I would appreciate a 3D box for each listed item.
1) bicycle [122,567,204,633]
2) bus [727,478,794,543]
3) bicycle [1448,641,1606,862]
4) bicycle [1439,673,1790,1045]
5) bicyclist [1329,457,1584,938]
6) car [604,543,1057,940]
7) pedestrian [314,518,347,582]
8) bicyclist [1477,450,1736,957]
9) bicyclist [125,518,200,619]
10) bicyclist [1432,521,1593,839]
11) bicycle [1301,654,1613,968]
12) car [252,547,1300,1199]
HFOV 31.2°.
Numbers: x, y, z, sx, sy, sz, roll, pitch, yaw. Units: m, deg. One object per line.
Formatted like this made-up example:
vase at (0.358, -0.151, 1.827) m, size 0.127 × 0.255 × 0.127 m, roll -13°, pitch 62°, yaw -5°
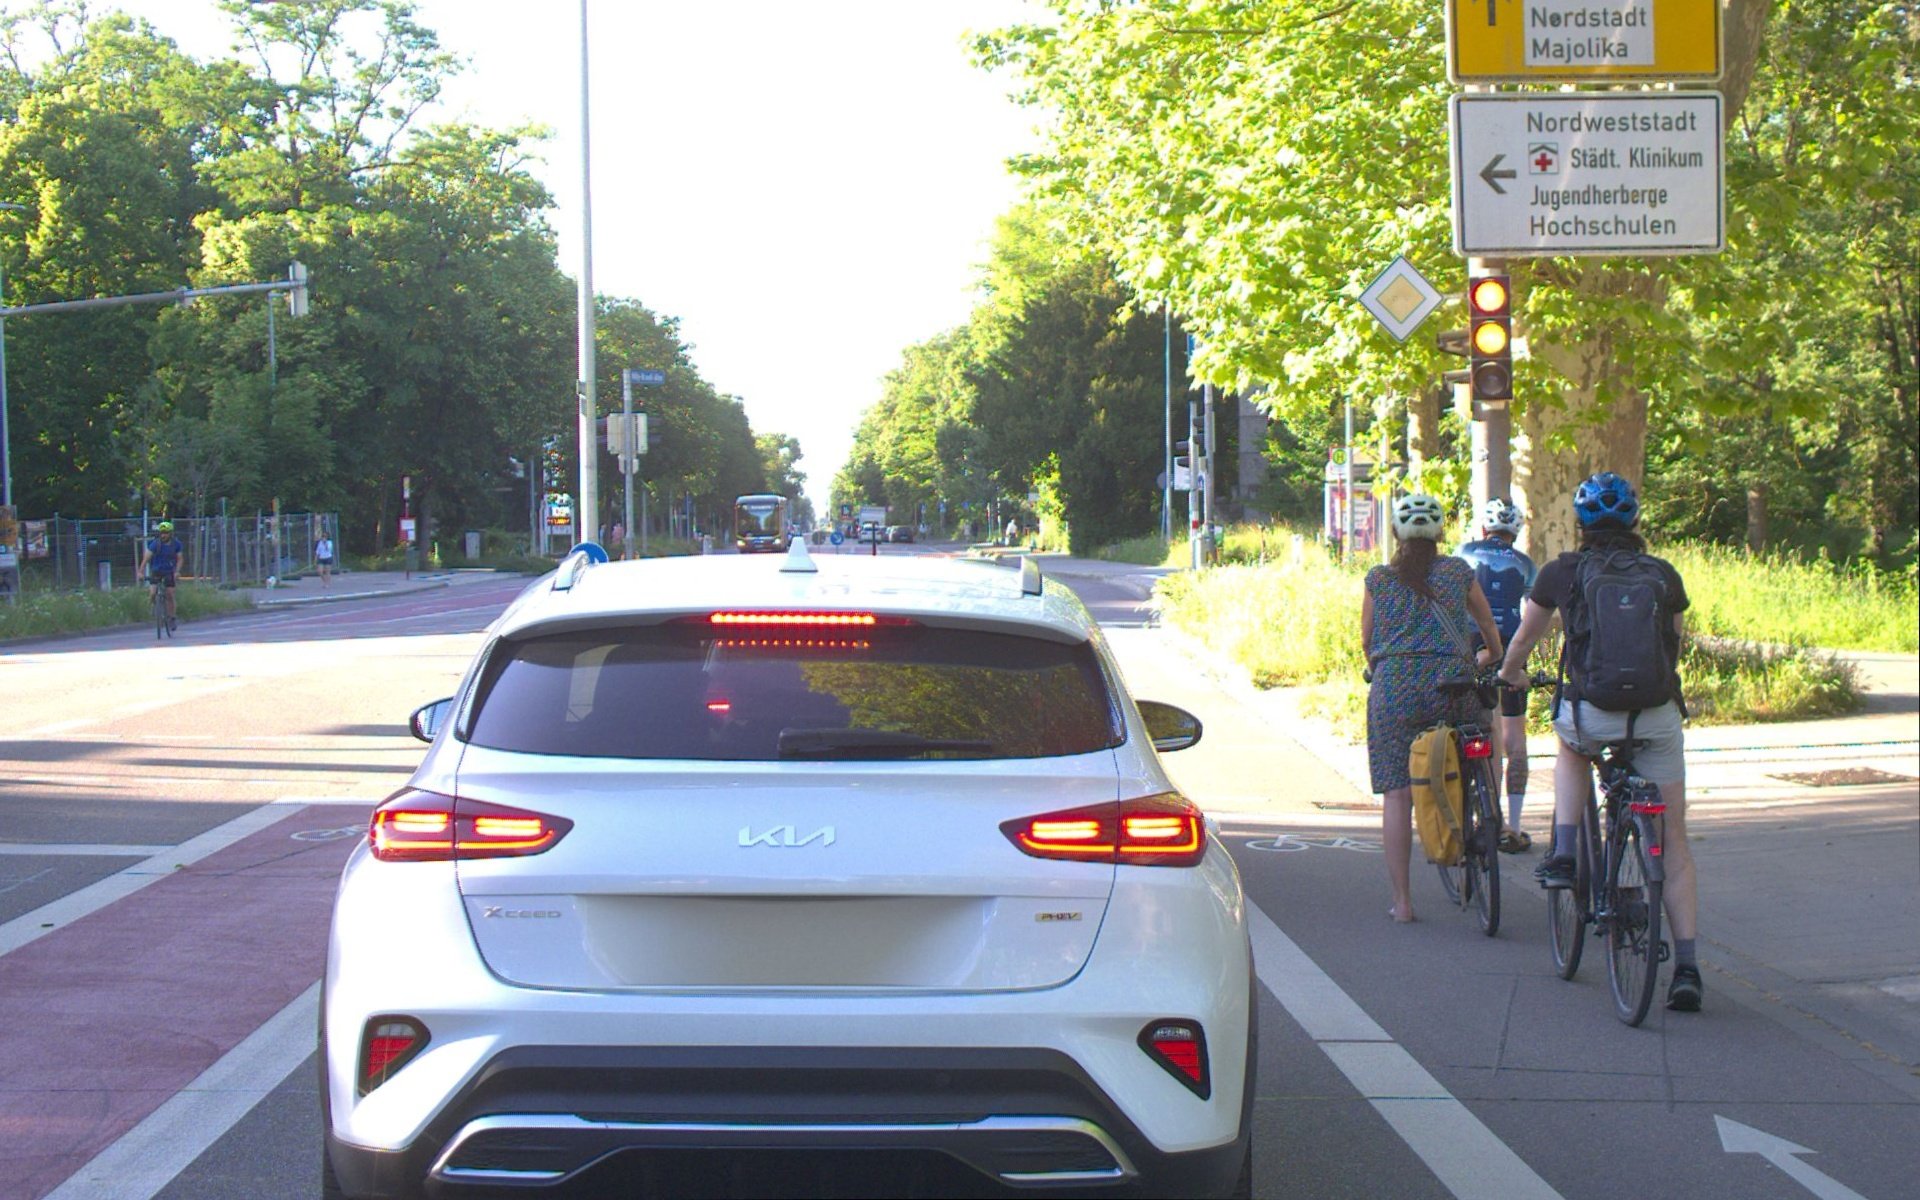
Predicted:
bicycle at (-12.939, -0.016, 55.864) m, size 0.663 × 0.985 × 2.504 m, roll -1°, pitch 1°, yaw 2°
bus at (-11.822, -5.258, 203.132) m, size 3.741 × 3.660 × 13.243 m, roll -1°, pitch 1°, yaw -4°
bicycle at (2.720, 0.707, 16.596) m, size 0.401 × 0.953 × 1.551 m, roll -4°, pitch 1°, yaw -2°
bicycle at (2.087, 0.793, 11.242) m, size 0.668 × 1.006 × 2.081 m, roll 1°, pitch 1°, yaw -2°
bicyclist at (1.924, 0.354, 13.471) m, size 0.753 × 1.789 × 1.165 m, roll 1°, pitch 1°, yaw -2°
car at (-0.571, 0.522, 15.146) m, size 1.728 × 1.478 × 3.517 m, roll -1°, pitch 1°, yaw -2°
pedestrian at (-17.760, -1.416, 97.024) m, size 0.785 × 1.779 × 0.751 m, roll 0°, pitch 1°, yaw 0°
bicyclist at (2.094, 0.319, 11.214) m, size 0.665 × 1.596 × 0.721 m, roll 1°, pitch 1°, yaw -2°
bicyclist at (-12.957, -0.517, 55.861) m, size 0.875 × 1.603 × 1.188 m, roll -1°, pitch 1°, yaw 1°
bicyclist at (2.660, 0.372, 16.599) m, size 0.554 × 1.473 × 0.717 m, roll -4°, pitch 1°, yaw -2°
bicycle at (1.909, 0.779, 13.607) m, size 0.758 × 1.009 × 2.570 m, roll 1°, pitch 1°, yaw -2°
car at (-0.383, 0.636, 7.968) m, size 1.821 × 1.475 × 3.937 m, roll 0°, pitch 1°, yaw -2°
